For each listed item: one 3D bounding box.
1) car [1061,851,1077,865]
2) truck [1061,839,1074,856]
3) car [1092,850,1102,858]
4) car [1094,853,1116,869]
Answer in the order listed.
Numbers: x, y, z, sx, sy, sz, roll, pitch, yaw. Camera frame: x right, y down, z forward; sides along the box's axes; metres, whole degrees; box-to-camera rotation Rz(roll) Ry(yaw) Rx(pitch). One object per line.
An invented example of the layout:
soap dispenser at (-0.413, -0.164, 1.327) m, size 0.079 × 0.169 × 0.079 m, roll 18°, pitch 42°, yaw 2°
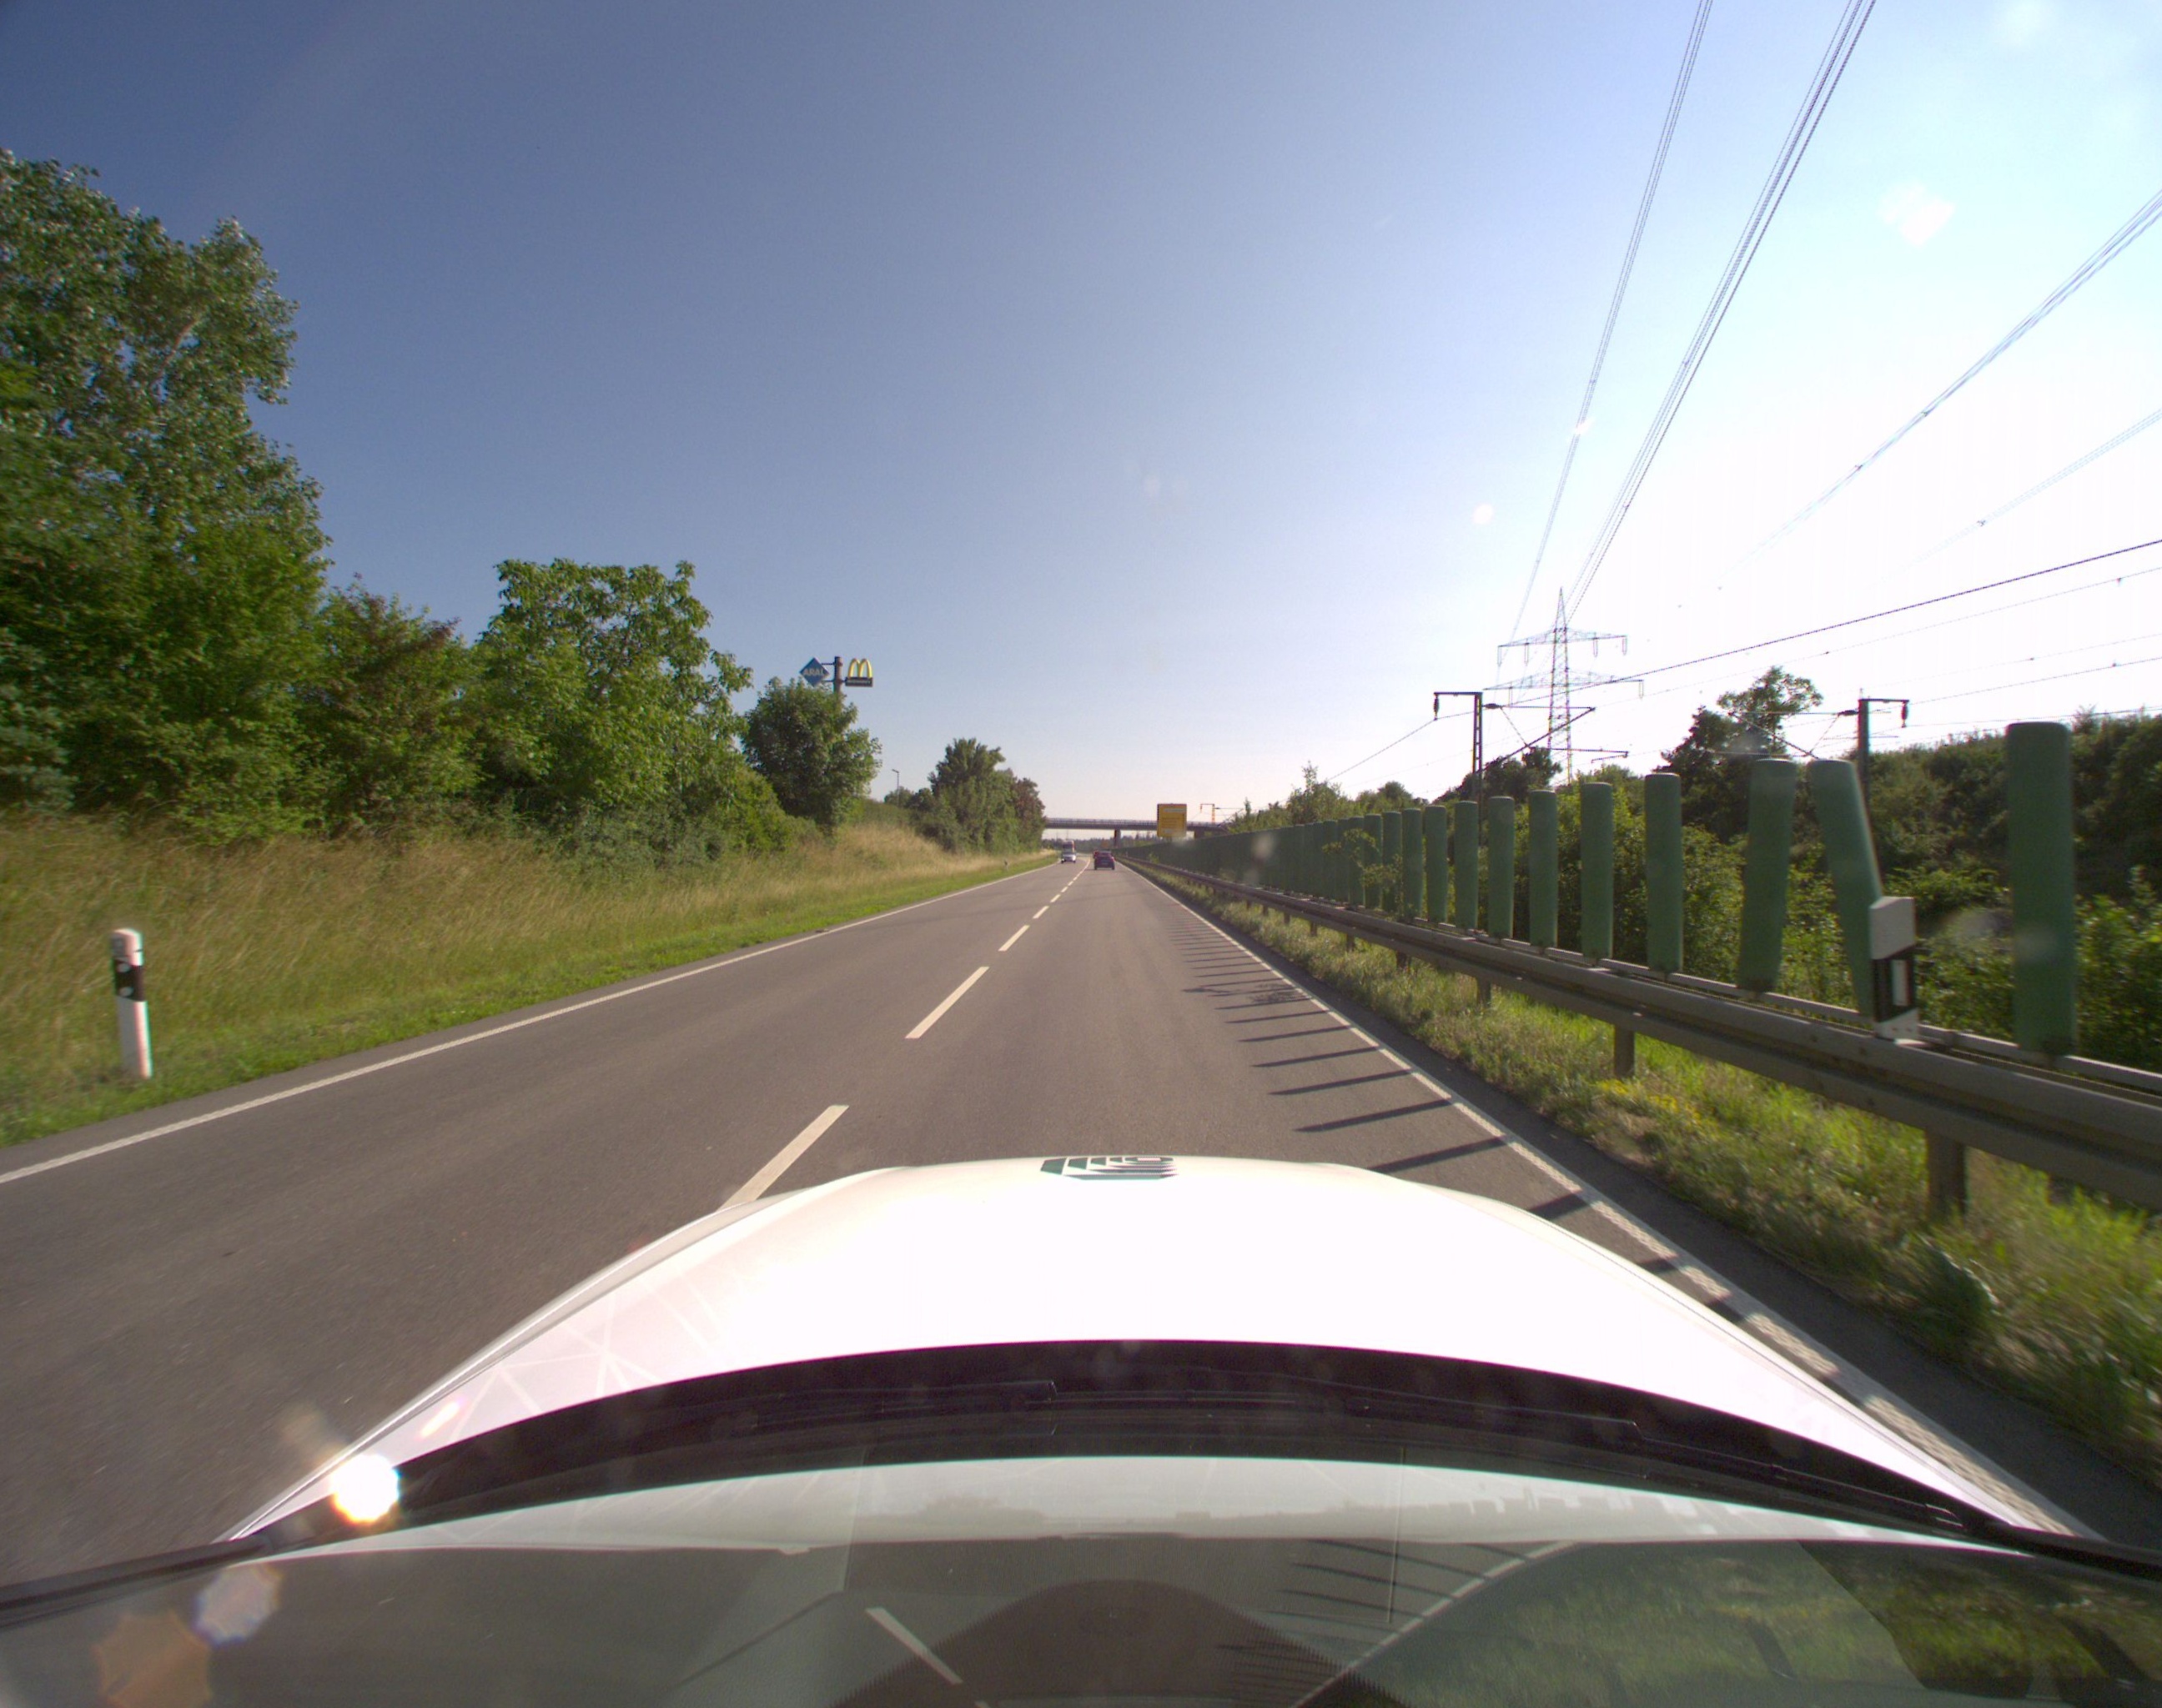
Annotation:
car at (-1.447, 0.488, 100.450) m, size 1.790 × 1.593 × 4.000 m, roll 0°, pitch 0°, yaw 0°
truck at (-2.821, -1.361, 173.951) m, size 2.551 × 3.688 × 10.487 m, roll 0°, pitch 0°, yaw 0°
car at (3.110, 0.019, 155.091) m, size 1.888 × 1.418 × 4.000 m, roll 0°, pitch 0°, yaw 0°
car at (1.888, 0.570, 65.589) m, size 1.658 × 1.261 × 4.000 m, roll 0°, pitch 0°, yaw 0°
